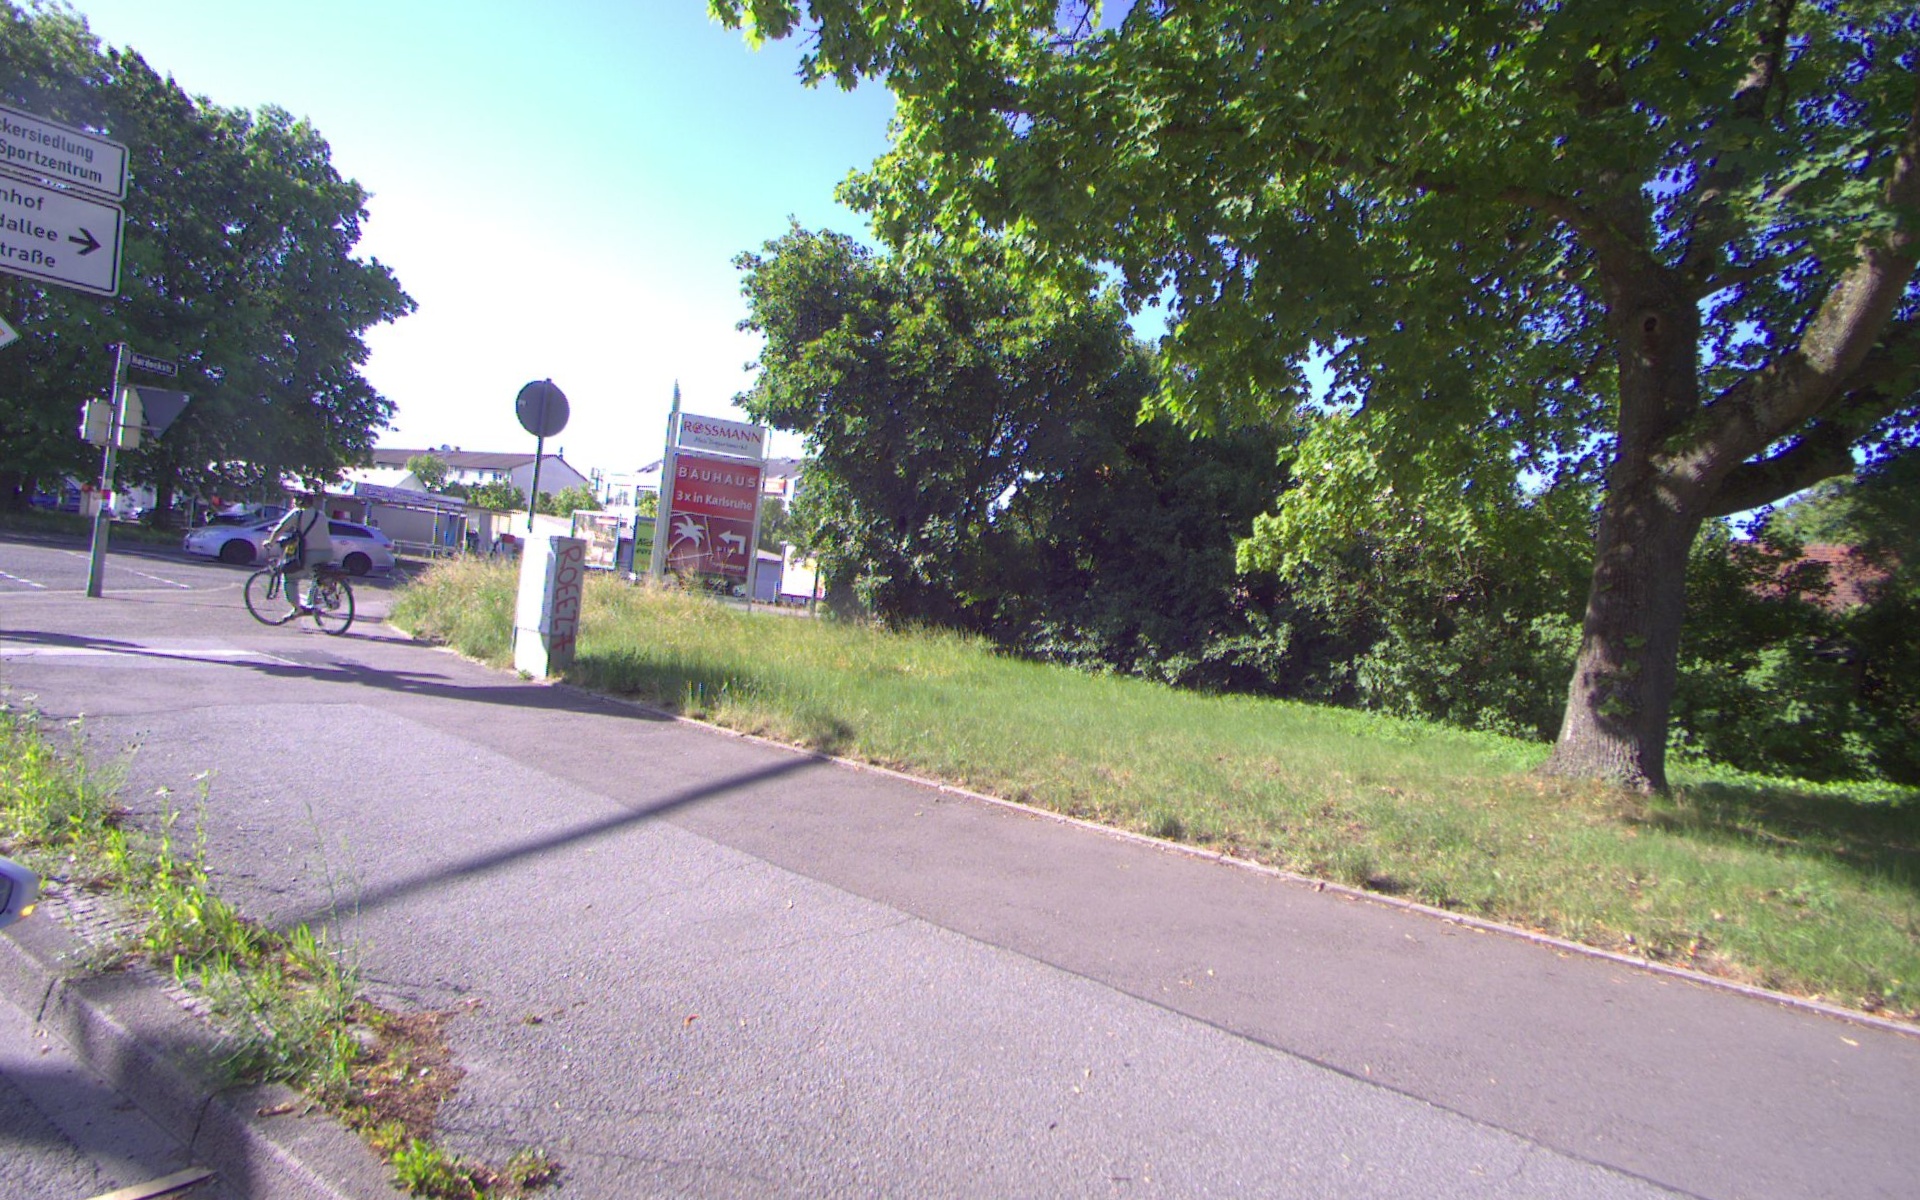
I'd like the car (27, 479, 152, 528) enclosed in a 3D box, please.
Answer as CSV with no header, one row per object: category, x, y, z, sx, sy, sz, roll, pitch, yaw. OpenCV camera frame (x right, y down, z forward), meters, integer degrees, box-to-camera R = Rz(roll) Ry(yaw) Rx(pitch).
car,-38.448,-4.230,44.548,1.712,1.537,3.902,6,0,9

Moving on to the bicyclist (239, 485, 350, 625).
bicyclist,-8.081,-0.537,12.226,0.979,1.602,0.580,5,2,18

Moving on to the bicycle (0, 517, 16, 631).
bicycle,-10.173,-0.318,9.519,1.746,1.112,0.536,4,2,-12

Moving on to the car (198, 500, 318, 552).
car,-29.562,-3.078,42.518,1.712,1.701,4.001,6,0,9

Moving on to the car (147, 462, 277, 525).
car,-31.496,-4.450,42.526,1.962,1.769,4.007,7,-3,9

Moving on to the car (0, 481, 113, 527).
car,-41.258,-4.354,45.776,1.712,1.537,3.902,6,0,9

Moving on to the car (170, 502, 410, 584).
car,-17.924,-1.486,27.106,1.973,1.504,4.993,7,0,43

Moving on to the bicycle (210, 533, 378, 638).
bicycle,-8.108,-0.182,12.238,1.950,1.112,0.580,5,2,18
